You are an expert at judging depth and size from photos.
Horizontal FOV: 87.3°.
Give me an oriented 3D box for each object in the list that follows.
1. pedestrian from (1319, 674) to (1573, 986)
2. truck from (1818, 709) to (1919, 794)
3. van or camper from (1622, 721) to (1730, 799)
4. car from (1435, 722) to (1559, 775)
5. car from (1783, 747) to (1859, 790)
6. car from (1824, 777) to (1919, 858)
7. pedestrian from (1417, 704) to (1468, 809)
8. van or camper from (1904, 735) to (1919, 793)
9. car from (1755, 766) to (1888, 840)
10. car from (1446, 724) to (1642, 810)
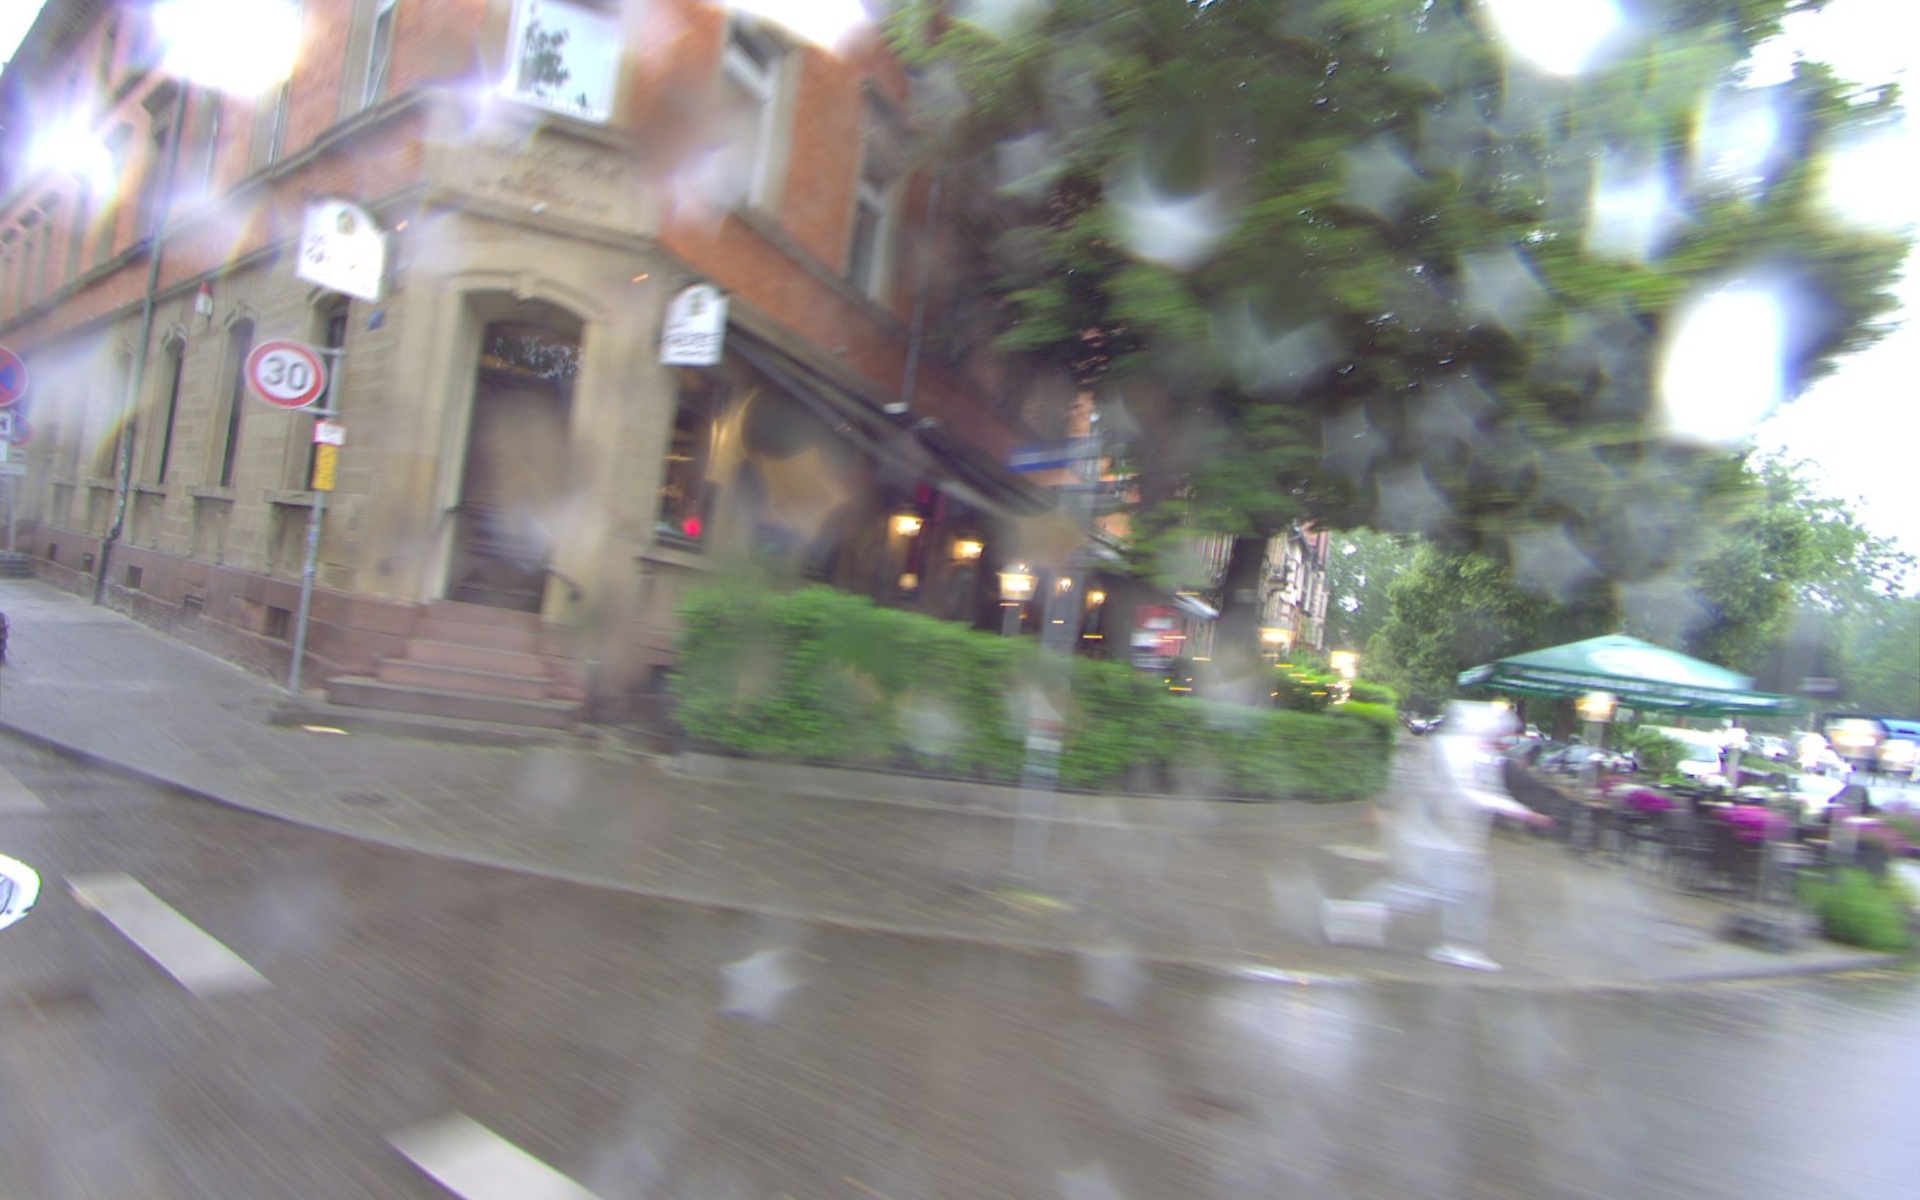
[{"bbox_3d":[3.252,1.509,6.845,1.182,1.796,0.566,10,2,10],"label":"pedestrian"},{"bbox_3d":[53.519,8.767,59.049,2.376,4.324,8.357,6,-3,25],"label":"truck"},{"bbox_3d":[29.672,6.547,41.920,2.292,2.619,6.101,6,-3,25],"label":"van or camper"},{"bbox_3d":[22.177,6.133,41.594,4.213,1.486,1.709,8,-3,-7],"label":"car"},{"bbox_3d":[46.993,9.165,54.995,1.964,1.779,4.000,5,-2,24],"label":"car"},{"bbox_3d":[22.361,5.178,23.801,1.720,1.479,4.218,6,-3,25],"label":"car"},{"bbox_3d":[8.219,2.651,17.133,0.541,1.663,0.389,9,-1,27],"label":"pedestrian"},{"bbox_3d":[42.576,7.137,42.371,2.106,2.526,5.717,6,-3,24],"label":"van or camper"},{"bbox_3d":[24.268,5.670,28.513,1.702,1.486,4.218,6,-3,26],"label":"car"},{"bbox_3d":[14.678,4.187,25.377,3.935,1.525,1.859,8,-3,-11],"label":"car"}]
